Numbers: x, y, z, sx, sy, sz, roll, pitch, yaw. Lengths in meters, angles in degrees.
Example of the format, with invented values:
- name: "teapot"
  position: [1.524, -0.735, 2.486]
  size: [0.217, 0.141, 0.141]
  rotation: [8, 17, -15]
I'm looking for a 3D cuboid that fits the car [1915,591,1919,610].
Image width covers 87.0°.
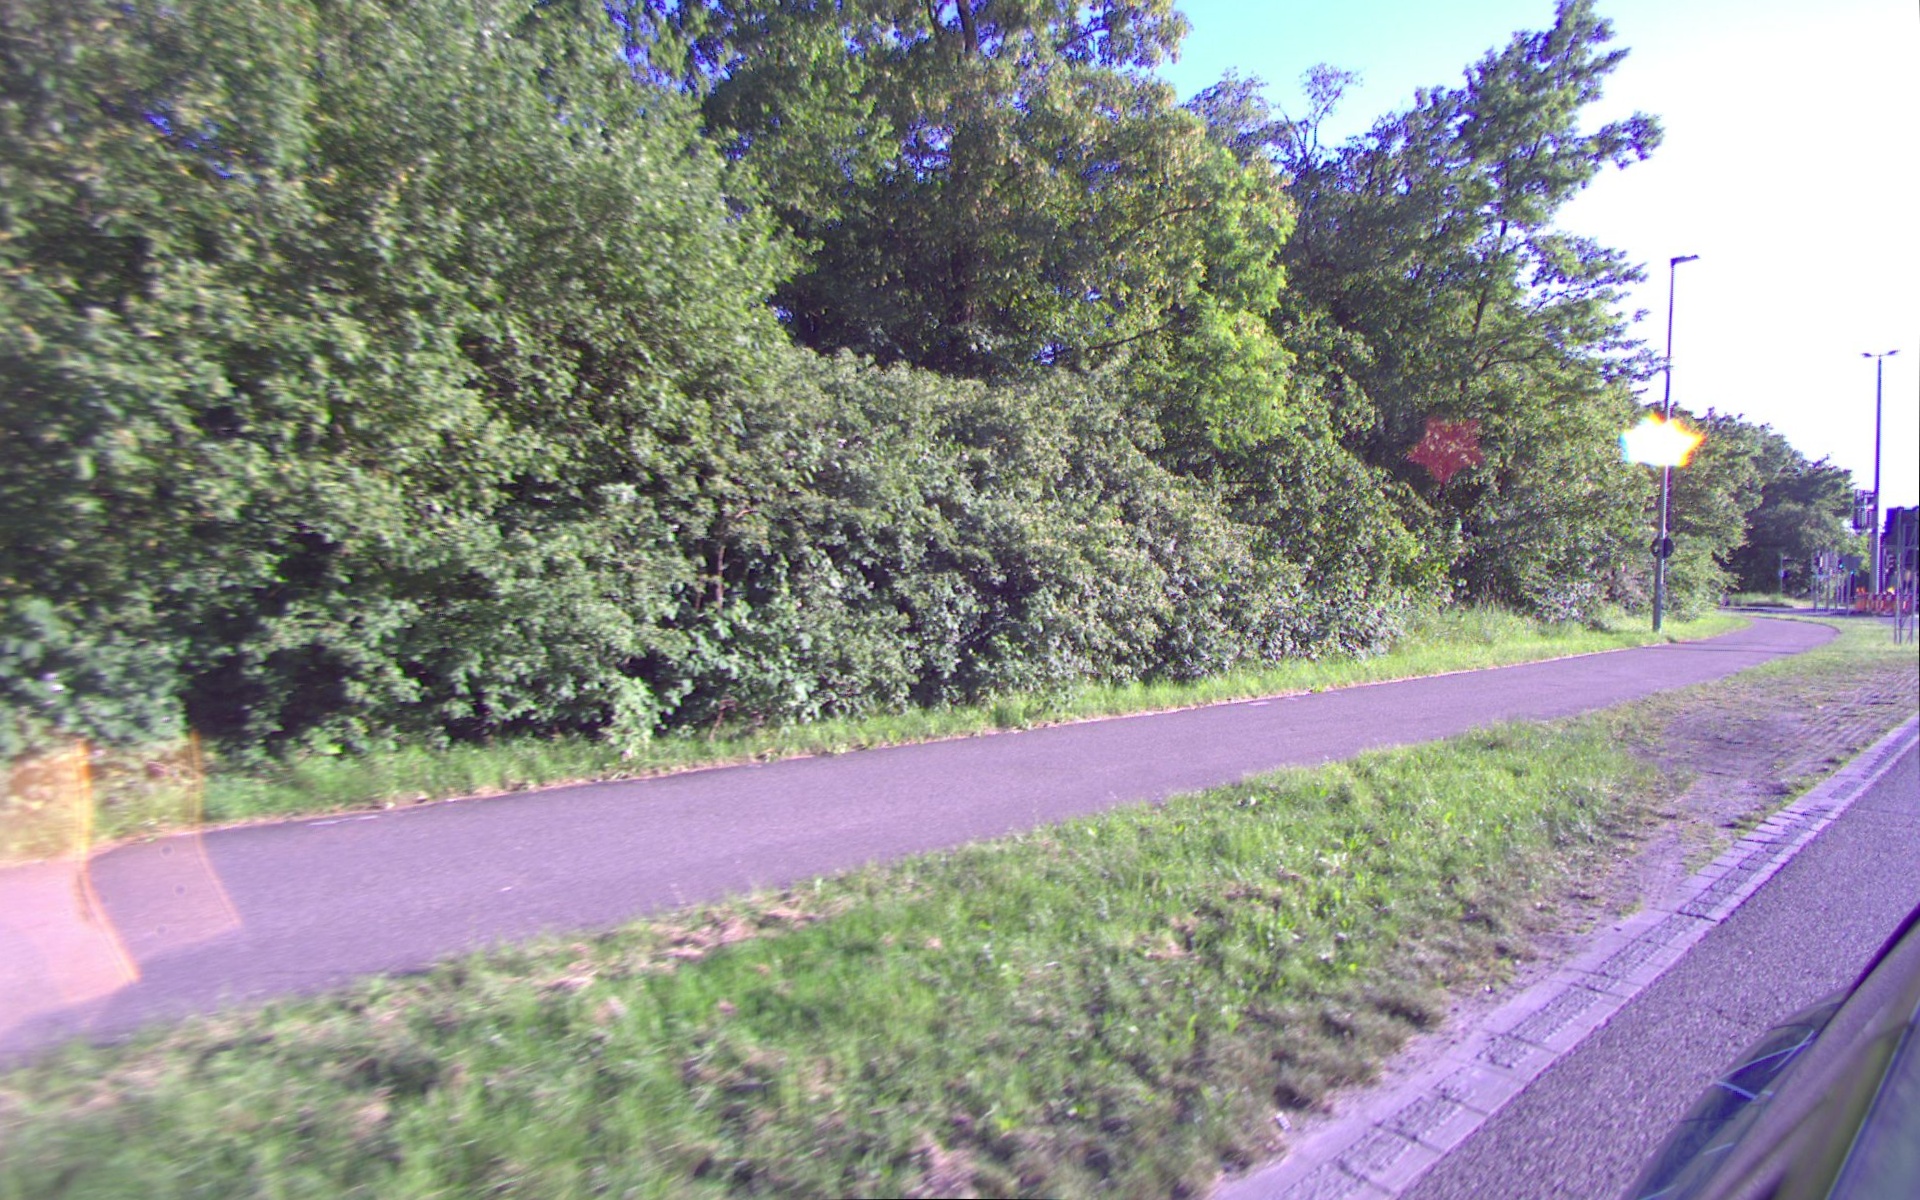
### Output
- name: "car"
  position: [86.044, 0.018, 89.718]
  size: [1.994, 1.538, 3.938]
  rotation: [1, 2, 44]
